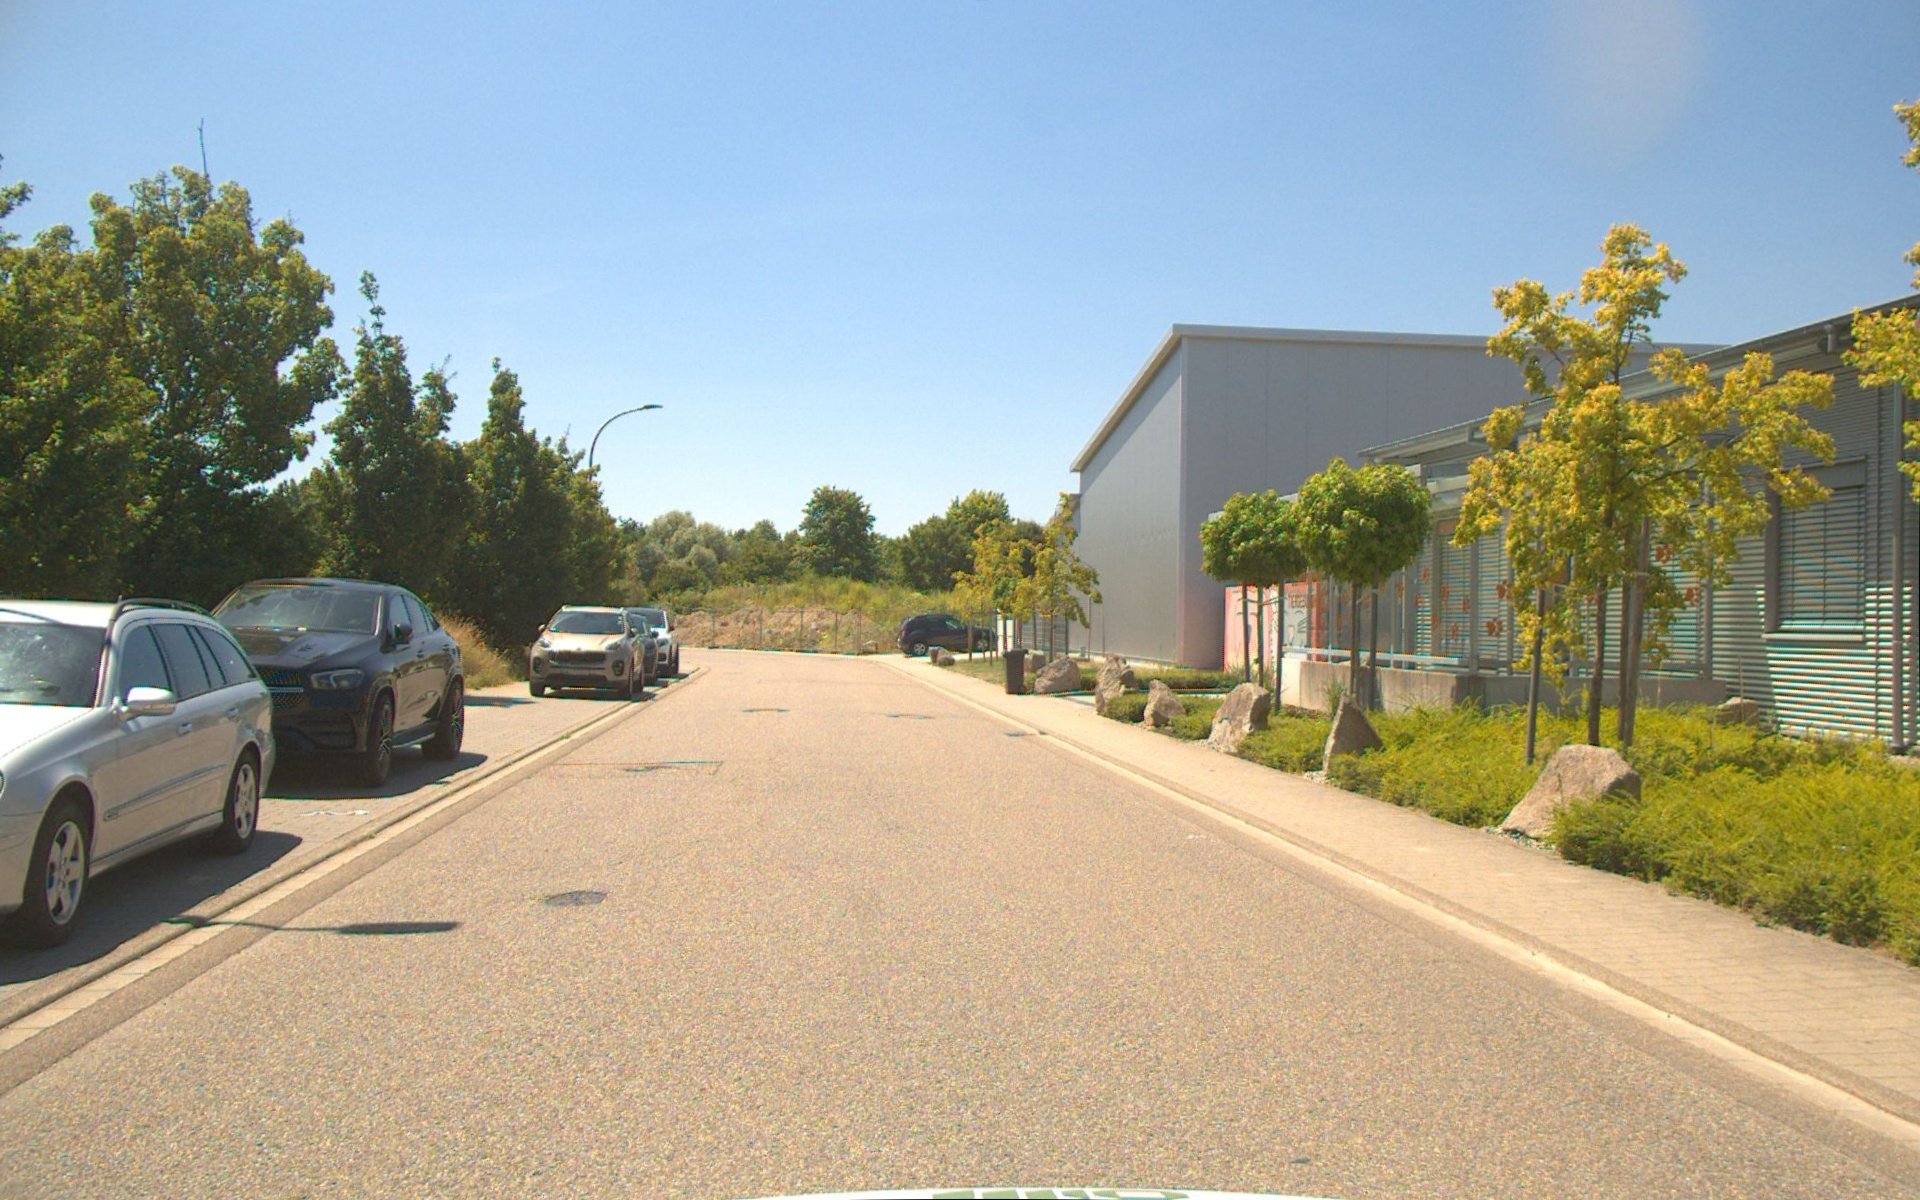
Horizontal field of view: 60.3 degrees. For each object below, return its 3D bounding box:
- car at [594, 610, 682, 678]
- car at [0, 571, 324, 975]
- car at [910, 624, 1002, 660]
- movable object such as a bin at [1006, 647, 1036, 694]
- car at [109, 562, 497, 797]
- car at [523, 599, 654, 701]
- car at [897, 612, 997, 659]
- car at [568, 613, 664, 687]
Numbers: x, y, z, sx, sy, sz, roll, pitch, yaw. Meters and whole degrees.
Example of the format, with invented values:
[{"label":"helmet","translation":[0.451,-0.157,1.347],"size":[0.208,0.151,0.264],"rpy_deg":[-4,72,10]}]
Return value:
[{"label":"car","translation":[-8.446,1.124,43.765],"size":[1.876,1.684,4.748],"rpy_deg":[1,-1,-6]},{"label":"car","translation":[-4.899,0.633,8.614],"size":[1.817,1.545,5.156],"rpy_deg":[3,-1,-9]},{"label":"car","translation":[-0.206,1.883,74.384],"size":[3.934,1.487,1.889],"rpy_deg":[-1,0,-7]},{"label":"movable object such as a bin","translation":[1.278,1.485,34.918],"size":[0.548,0.963,0.538],"rpy_deg":[0,-1,-8]},{"label":"car","translation":[-5.773,0.637,15.303],"size":[1.953,1.743,5.000],"rpy_deg":[2,-1,-6]},{"label":"car","translation":[-7.004,0.902,31.592],"size":[1.876,1.743,4.407],"rpy_deg":[2,-1,-6]},{"label":"car","translation":[-0.564,1.477,69.705],"size":[3.934,1.684,1.855],"rpy_deg":[-4,0,-7]},{"label":"car","translation":[-7.869,1.110,38.184],"size":[1.877,1.518,4.403],"rpy_deg":[3,-1,-9]}]
